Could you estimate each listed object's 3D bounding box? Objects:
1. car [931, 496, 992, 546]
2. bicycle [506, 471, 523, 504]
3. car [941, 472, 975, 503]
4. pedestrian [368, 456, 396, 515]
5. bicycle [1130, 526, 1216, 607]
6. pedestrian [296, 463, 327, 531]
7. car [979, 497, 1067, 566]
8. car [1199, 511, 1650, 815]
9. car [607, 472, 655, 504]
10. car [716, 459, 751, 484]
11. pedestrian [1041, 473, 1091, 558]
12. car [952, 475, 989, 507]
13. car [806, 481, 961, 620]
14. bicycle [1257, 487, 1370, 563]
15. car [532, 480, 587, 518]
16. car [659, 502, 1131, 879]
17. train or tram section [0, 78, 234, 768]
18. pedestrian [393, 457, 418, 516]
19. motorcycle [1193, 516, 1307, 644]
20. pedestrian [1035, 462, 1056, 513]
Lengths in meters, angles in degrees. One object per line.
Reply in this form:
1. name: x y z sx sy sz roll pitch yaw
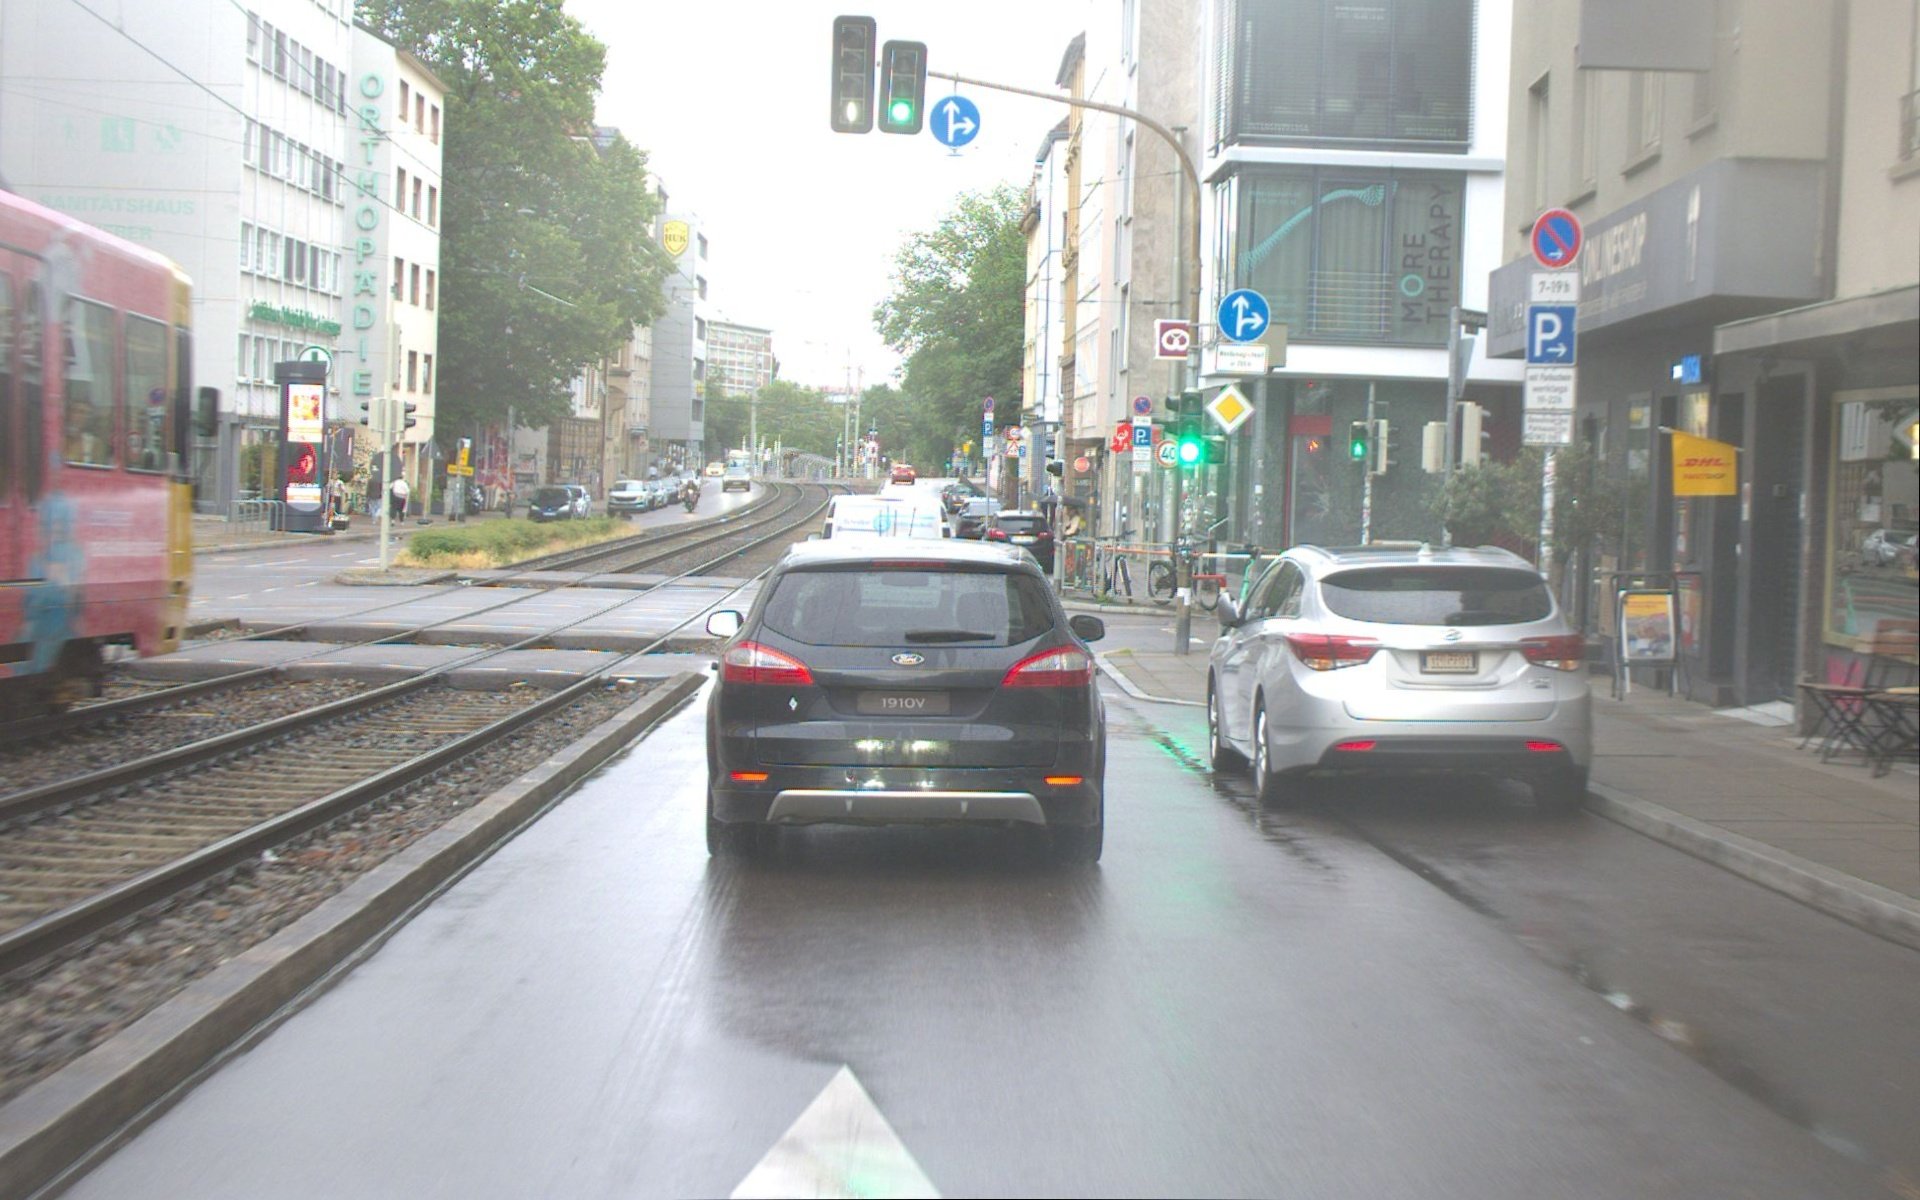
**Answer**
1. car: 0.031 -2.641 114.190 1.993 1.588 4.572 0 2 0
2. bicycle: -17.277 -4.371 133.397 0.590 1.222 2.404 1 2 -8
3. car: -0.123 -5.963 181.991 1.642 1.510 4.040 1 3 -2
4. pedestrian: -18.695 -3.706 111.159 0.727 1.889 0.983 1 2 -1
5. bicycle: 3.482 -0.553 56.411 0.497 1.254 1.957 1 2 -25
6. pedestrian: -18.218 -2.889 96.595 0.727 1.889 0.689 1 2 -4
7. car: 1.476 -1.668 82.575 1.993 1.588 4.272 0 2 0
8. car: 2.618 0.274 20.507 2.024 1.588 4.621 0 2 0
9. car: -16.195 -5.526 169.341 1.993 1.513 4.436 1 2 -1
10. car: -14.991 -8.503 227.905 1.993 1.514 4.444 2 1 -1
11. pedestrian: 1.990 -1.580 64.400 0.659 1.576 0.780 0 2 -22
12. car: 0.534 -5.623 177.143 1.738 1.483 4.001 1 3 -2
13. car: -1.010 -0.714 47.547 1.993 1.809 4.271 0 2 1
14. bicycle: 5.622 -1.203 54.778 0.576 1.153 1.956 0 2 -37
15. car: -15.867 -4.027 136.275 1.744 1.463 4.220 0 2 -1
16. car: -0.290 0.326 16.750 1.993 1.588 4.272 0 2 0
17. train or tram section: -7.034 -0.988 17.731 2.902 4.036 18.770 0 1 -1
18. pedestrian: -17.919 -3.676 111.059 0.678 1.889 0.743 1 2 -1
19. motorcycle: 3.361 -0.243 39.875 1.129 1.456 0.684 -1 2 -37
20. pedestrian: 3.383 -4.476 136.345 0.736 2.006 0.821 1 3 -2
